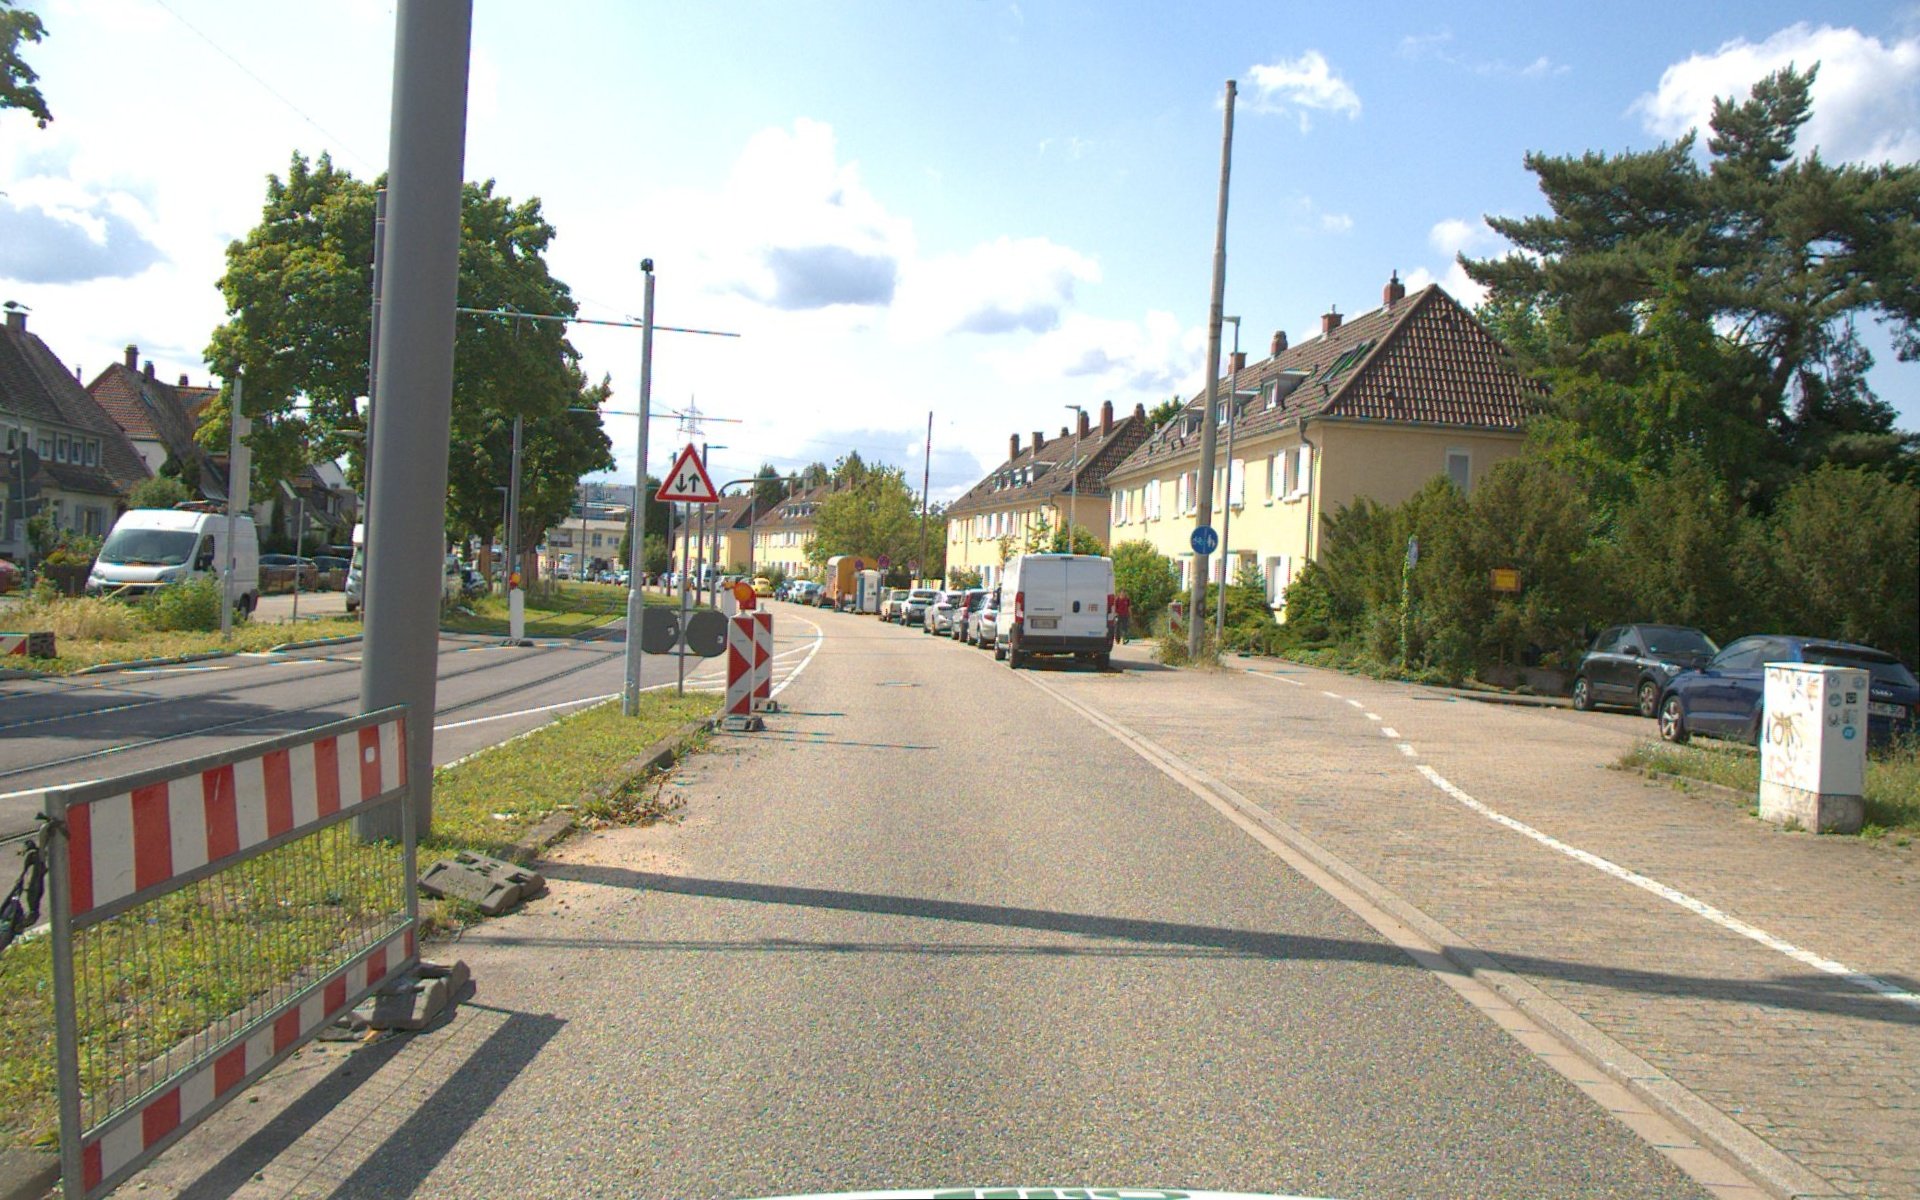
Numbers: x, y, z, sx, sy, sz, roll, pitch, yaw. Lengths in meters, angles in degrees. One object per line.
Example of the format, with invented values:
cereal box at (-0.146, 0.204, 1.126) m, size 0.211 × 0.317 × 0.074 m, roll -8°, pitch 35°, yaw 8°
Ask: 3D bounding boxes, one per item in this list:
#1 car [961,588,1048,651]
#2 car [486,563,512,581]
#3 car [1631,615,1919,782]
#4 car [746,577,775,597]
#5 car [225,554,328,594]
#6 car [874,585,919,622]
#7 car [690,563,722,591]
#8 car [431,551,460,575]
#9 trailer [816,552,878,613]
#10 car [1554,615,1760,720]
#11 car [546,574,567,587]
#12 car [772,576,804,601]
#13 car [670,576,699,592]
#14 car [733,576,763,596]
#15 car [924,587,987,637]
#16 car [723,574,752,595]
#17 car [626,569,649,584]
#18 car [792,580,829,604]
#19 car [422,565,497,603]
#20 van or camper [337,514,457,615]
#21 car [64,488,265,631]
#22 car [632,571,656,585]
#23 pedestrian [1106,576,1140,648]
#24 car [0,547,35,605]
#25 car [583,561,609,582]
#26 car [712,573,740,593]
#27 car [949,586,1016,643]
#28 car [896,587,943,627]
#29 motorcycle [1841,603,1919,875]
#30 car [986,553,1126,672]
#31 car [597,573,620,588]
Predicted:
car at (1.143, 0.476, 44.233) m, size 1.675 × 1.530 × 4.249 m, roll 2°, pitch 1°, yaw -7°
car at (-43.294, -2.598, 155.226) m, size 1.786 × 1.614 × 4.536 m, roll 0°, pitch 1°, yaw -23°
car at (9.271, 1.016, 18.702) m, size 1.606 × 1.404 × 4.289 m, roll 3°, pitch 2°, yaw 1°
car at (-15.977, -1.045, 132.307) m, size 1.610 × 1.508 × 3.913 m, roll 0°, pitch 2°, yaw -17°
car at (-30.588, -1.159, 74.077) m, size 3.919 × 1.557 × 1.867 m, roll 3°, pitch 0°, yaw -14°
car at (-2.833, 0.152, 73.212) m, size 1.436 × 1.528 × 4.100 m, roll 2°, pitch 0°, yaw -10°
car at (-23.919, -2.199, 155.769) m, size 1.901 × 2.524 × 5.485 m, roll 1°, pitch 1°, yaw -20°
car at (-61.304, -4.470, 197.004) m, size 2.050 × 2.768 × 6.939 m, roll 0°, pitch 1°, yaw -28°
trailer at (-6.514, -1.024, 94.682) m, size 2.644 × 3.282 × 5.066 m, roll 2°, pitch 0°, yaw -13°
car at (11.831, 1.096, 28.339) m, size 1.596 × 1.574 × 3.805 m, roll 3°, pitch 0°, yaw -5°
car at (-47.703, -2.355, 195.609) m, size 1.702 × 1.413 × 4.091 m, roll 2°, pitch 0°, yaw -24°
car at (-12.533, -0.838, 120.383) m, size 1.524 × 1.669 × 4.227 m, roll 2°, pitch 1°, yaw -17°
car at (-28.041, -1.636, 168.044) m, size 1.775 × 1.483 × 4.729 m, roll 0°, pitch 1°, yaw -24°
car at (-17.617, -1.179, 137.203) m, size 1.612 × 1.508 × 4.102 m, roll 3°, pitch 1°, yaw -19°
car at (-0.194, 0.368, 54.968) m, size 1.716 × 1.524 × 4.381 m, roll 2°, pitch 0°, yaw -5°
car at (-19.173, -1.344, 142.496) m, size 1.613 × 1.630 × 3.907 m, roll 3°, pitch 1°, yaw -21°
car at (-36.151, -2.661, 185.442) m, size 1.740 × 1.671 × 3.971 m, roll 0°, pitch 1°, yaw -24°
car at (-9.999, -0.567, 110.508) m, size 1.678 × 1.474 × 4.818 m, roll 2°, pitch 1°, yaw -14°
car at (-20.506, -0.653, 67.963) m, size 1.816 × 1.411 × 4.805 m, roll 3°, pitch 0°, yaw -4°
van or camper at (-18.603, -1.149, 55.039) m, size 2.331 × 3.022 × 7.283 m, roll 2°, pitch 0°, yaw -8°
car at (-16.710, -0.824, 35.062) m, size 2.111 × 2.715 × 4.911 m, roll 3°, pitch 0°, yaw -5°
car at (-34.524, -2.441, 180.751) m, size 1.740 × 1.441 × 3.971 m, roll 0°, pitch 1°, yaw -24°
pedestrian at (4.784, 0.343, 48.554) m, size 0.758 × 2.048 × 0.761 m, roll 2°, pitch 0°, yaw -6°
car at (-27.523, -0.724, 45.113) m, size 3.548 × 1.548 × 1.668 m, roll 3°, pitch 0°, yaw -7°
car at (-45.338, -3.608, 205.699) m, size 1.934 × 2.521 × 6.013 m, roll 0°, pitch 1°, yaw -25°
car at (-20.686, -1.485, 146.073) m, size 1.612 × 1.630 × 4.007 m, roll 3°, pitch 1°, yaw -19°
car at (0.628, 0.391, 49.308) m, size 1.596 × 1.577 × 3.805 m, roll 2°, pitch 0°, yaw -5°
car at (-1.656, 0.253, 66.889) m, size 1.499 × 1.507 × 3.803 m, roll 2°, pitch 0°, yaw -7°
motorcycle at (5.830, 0.776, 8.692) m, size 1.025 × 1.496 × 2.585 m, roll 0°, pitch 0°, yaw 0°
car at (1.915, 0.204, 35.176) m, size 2.231 × 2.220 × 6.364 m, roll 2°, pitch 1°, yaw -3°
car at (-36.401, -1.999, 171.299) m, size 1.643 × 1.474 × 3.932 m, roll 0°, pitch 1°, yaw -23°
